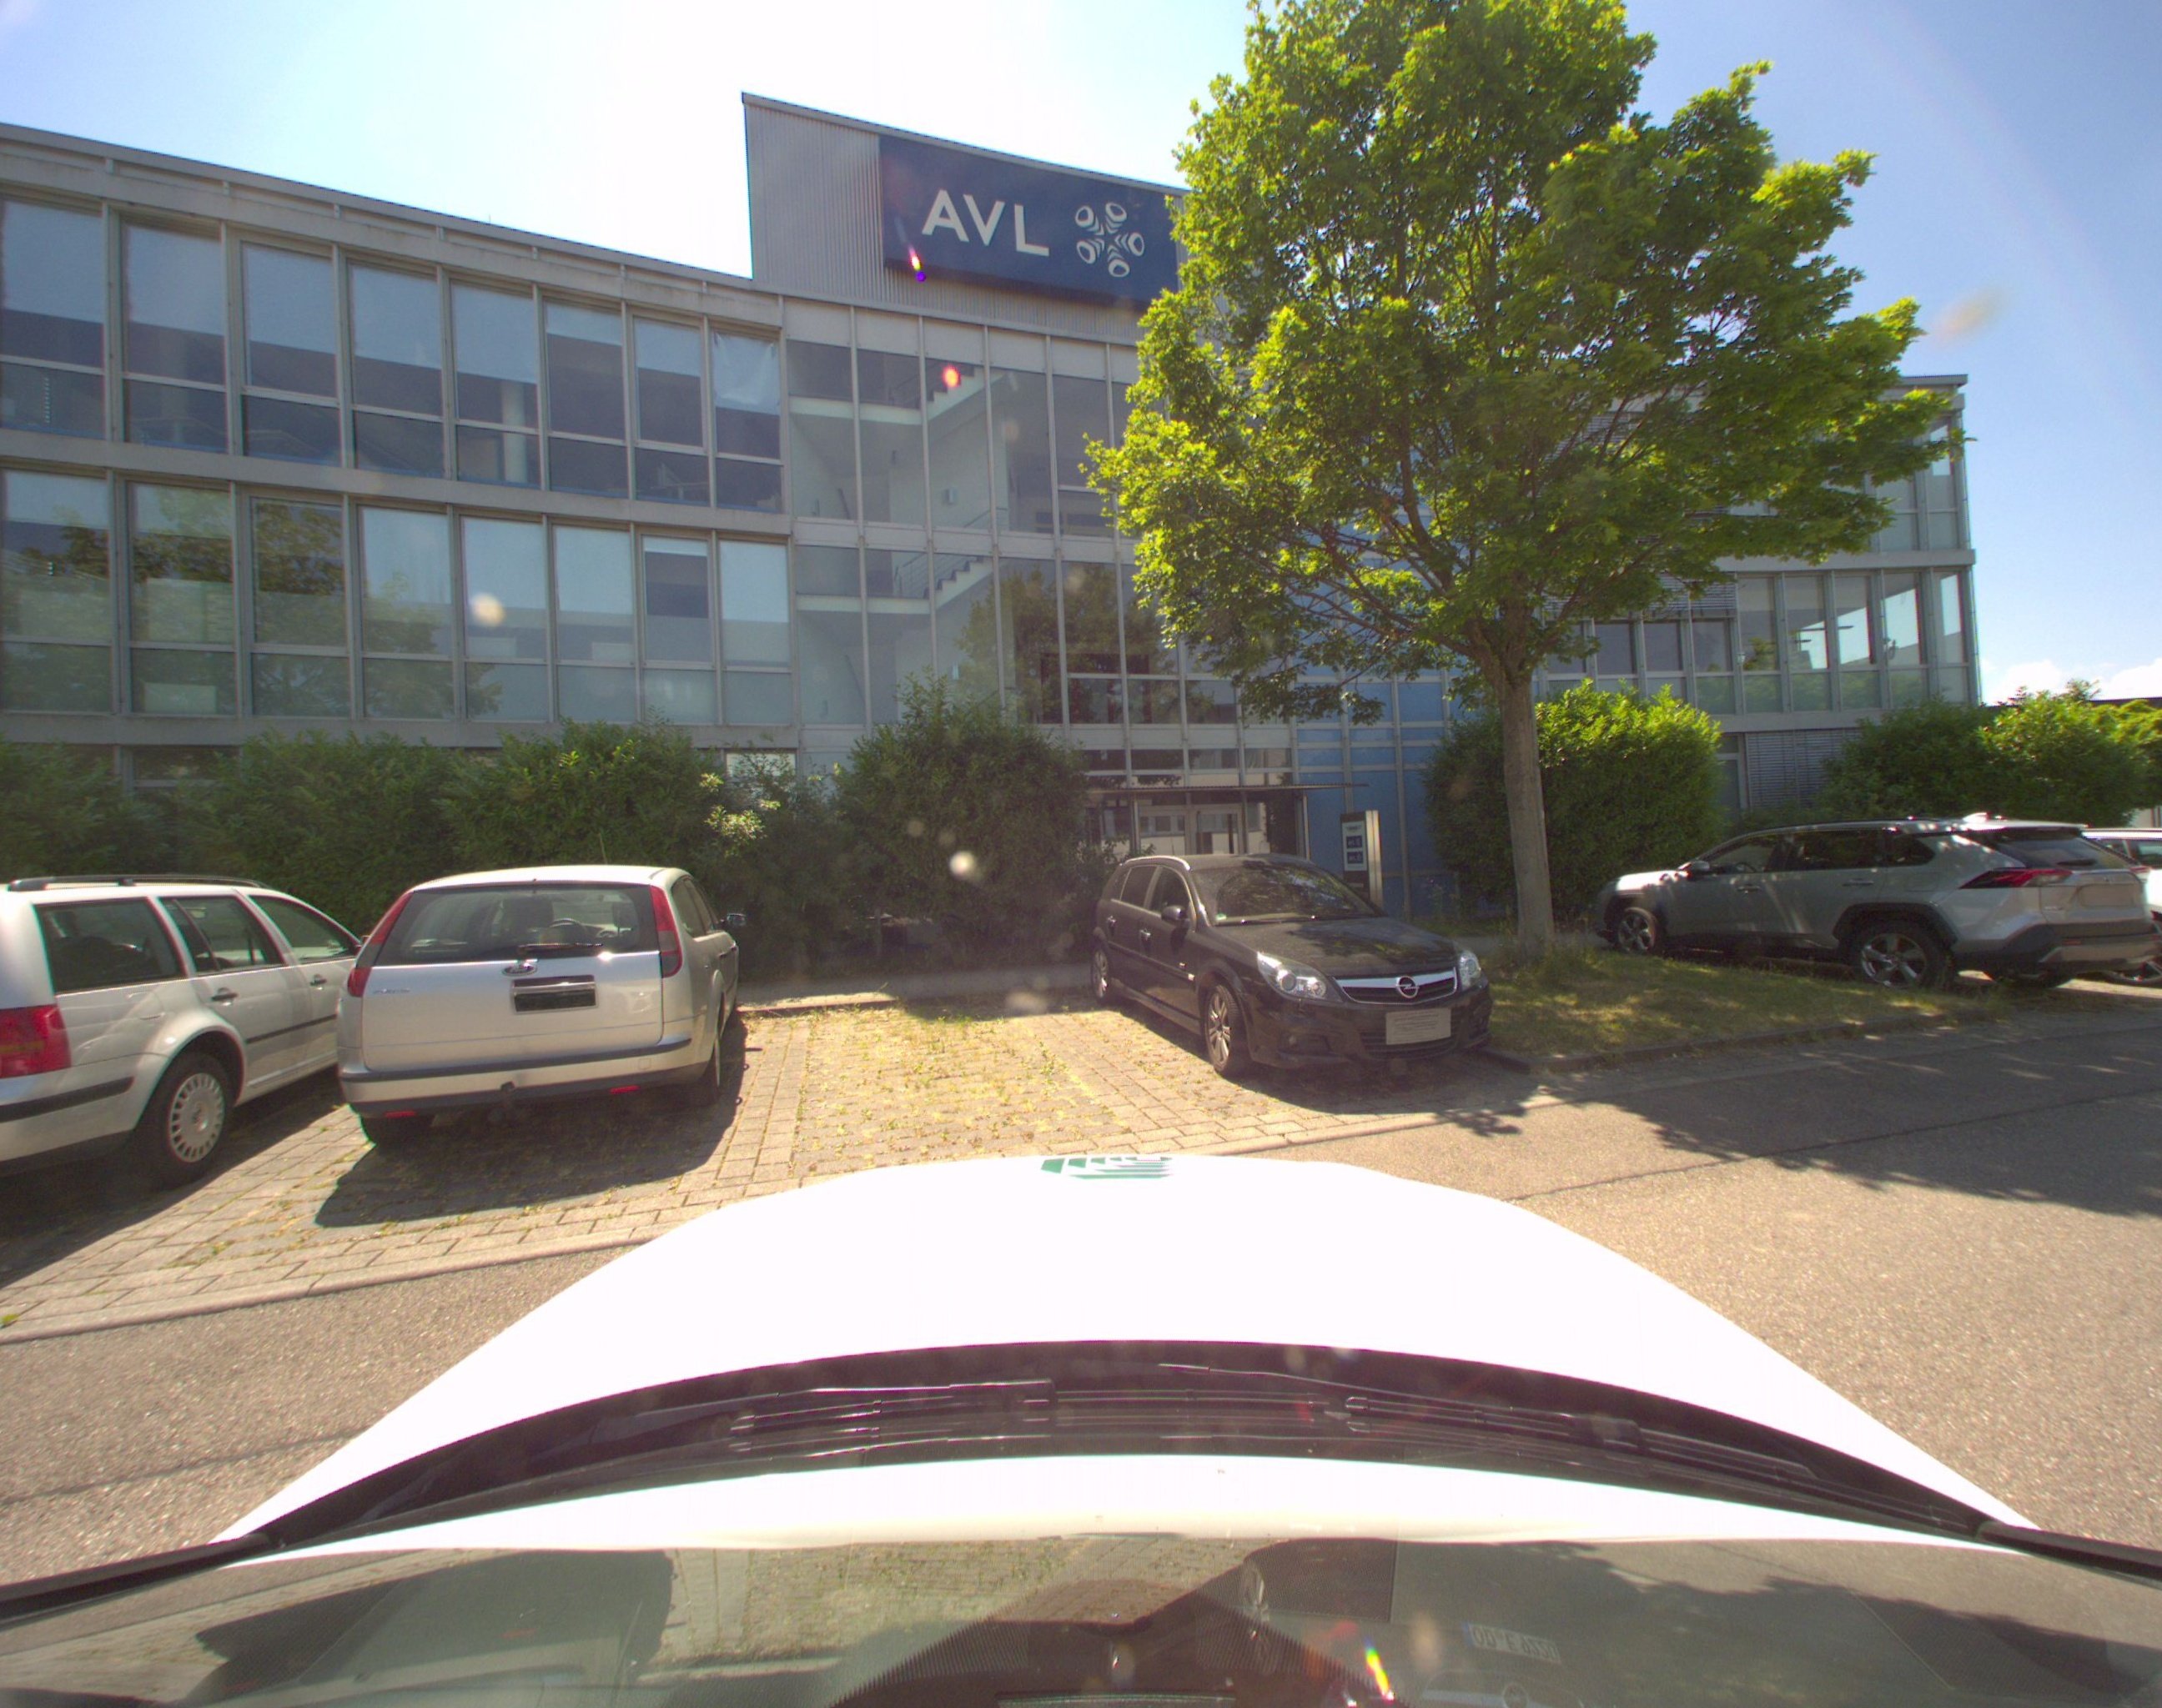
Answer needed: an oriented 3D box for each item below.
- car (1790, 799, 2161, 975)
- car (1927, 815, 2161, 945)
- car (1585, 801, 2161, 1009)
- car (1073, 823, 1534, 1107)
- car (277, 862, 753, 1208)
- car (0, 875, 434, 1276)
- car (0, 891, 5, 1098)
[{"bbox_3d":[10.597,0.282,8.863,1.657,1.643,4.185,-2,0,-13],"label":"car"},{"bbox_3d":[13.058,0.271,9.513,1.657,1.486,4.160,-2,0,-13],"label":"car"},{"bbox_3d":[8.007,0.383,8.821,1.853,1.643,4.314,-2,0,-13],"label":"car"},{"bbox_3d":[1.345,0.648,6.979,1.761,1.549,4.542,-2,-1,-15],"label":"car"},{"bbox_3d":[-3.454,0.846,5.951,1.725,1.479,4.320,-2,-1,-19],"label":"car"},{"bbox_3d":[-5.367,0.891,4.582,1.654,1.479,3.863,-2,-1,-22],"label":"car"},{"bbox_3d":[-7.638,0.966,3.635,1.654,1.448,3.863,-2,-1,-22],"label":"car"}]
